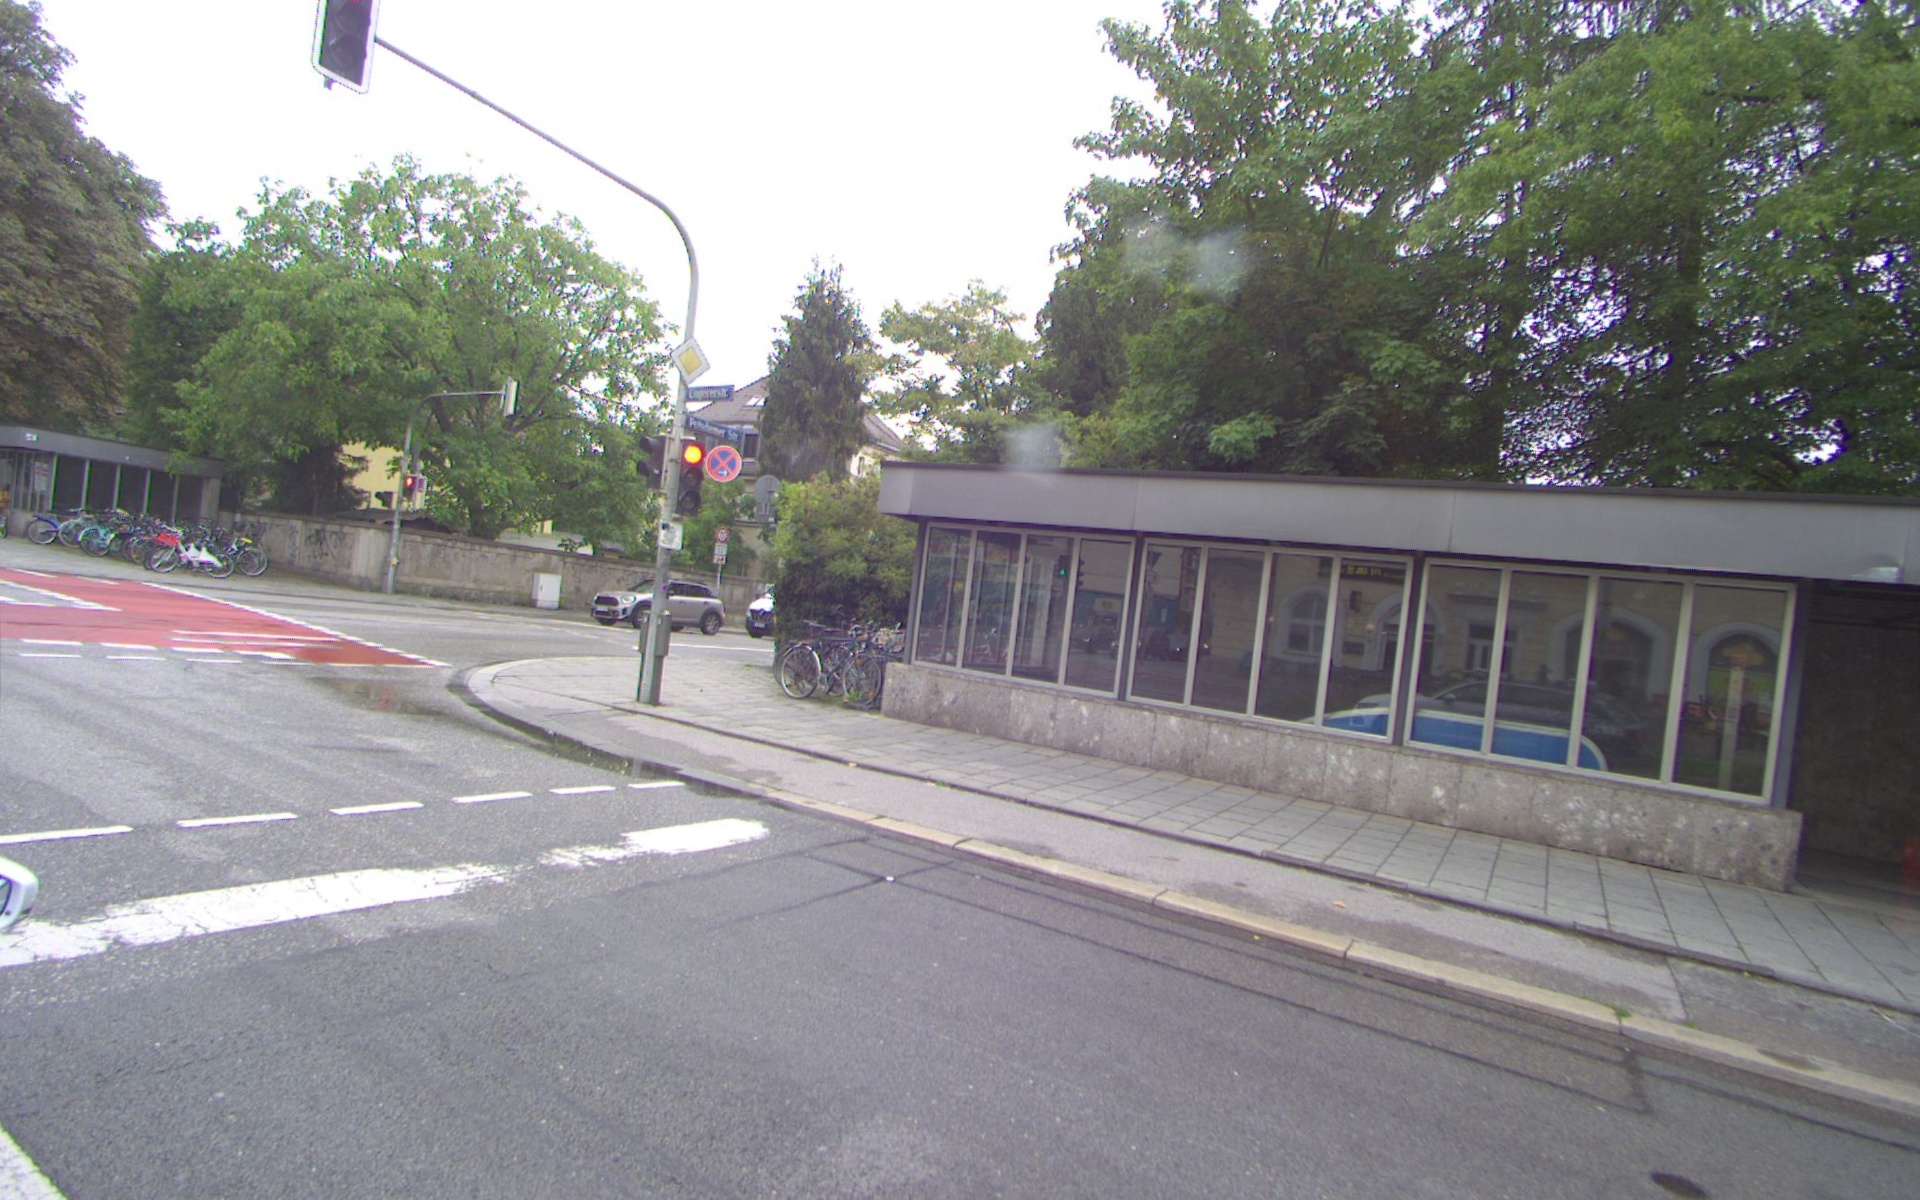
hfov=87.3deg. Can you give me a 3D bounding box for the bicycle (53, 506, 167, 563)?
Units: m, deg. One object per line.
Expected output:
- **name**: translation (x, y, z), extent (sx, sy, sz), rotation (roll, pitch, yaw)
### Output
- **bicycle**: translation (-22.347, -1.707, 26.496), extent (0.594, 1.192, 2.141), rotation (7, 0, 39)

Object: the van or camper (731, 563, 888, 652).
- **van or camper**: translation (-5.171, 0.340, 35.479), extent (2.033, 2.499, 5.558), rotation (7, 0, 33)

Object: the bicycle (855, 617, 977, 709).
- **bicycle**: translation (-0.663, 0.909, 14.792), extent (1.707, 1.135, 0.469), rotation (6, 0, 32)

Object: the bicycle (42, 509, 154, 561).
- **bicycle**: translation (-22.954, -1.718, 26.834), extent (0.594, 1.075, 2.141), rotation (7, 0, 39)

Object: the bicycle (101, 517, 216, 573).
- **bicycle**: translation (-20.388, -1.391, 25.626), extent (0.594, 1.114, 2.141), rotation (7, 0, 39)

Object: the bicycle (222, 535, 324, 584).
- **bicycle**: translation (-18.804, -1.094, 27.576), extent (0.625, 1.026, 2.141), rotation (7, 0, 39)

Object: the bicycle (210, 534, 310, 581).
- **bicycle**: translation (-19.440, -1.163, 27.978), extent (0.625, 1.026, 2.141), rotation (7, 0, 39)

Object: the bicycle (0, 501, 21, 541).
- **bicycle**: translation (-26.945, -2.253, 28.009), extent (1.981, 1.027, 0.557), rotation (7, 0, 30)

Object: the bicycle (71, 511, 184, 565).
- **bicycle**: translation (-21.669, -1.604, 26.227), extent (0.594, 1.099, 2.141), rotation (7, 0, 39)

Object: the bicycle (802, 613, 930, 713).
- **bicycle**: translation (-1.300, 0.845, 13.746), extent (1.707, 1.135, 0.469), rotation (6, 0, 32)

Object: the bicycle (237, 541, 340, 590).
- **bicycle**: translation (-18.127, -0.913, 27.209), extent (0.625, 1.026, 2.141), rotation (7, 0, 39)

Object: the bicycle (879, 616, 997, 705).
- **bicycle**: translation (-0.351, 0.912, 15.306), extent (1.707, 1.135, 0.469), rotation (6, 0, 32)

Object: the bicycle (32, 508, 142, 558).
- **bicycle**: translation (-23.669, -1.815, 27.314), extent (0.594, 1.026, 2.141), rotation (7, 0, 39)

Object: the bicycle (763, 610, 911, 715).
- **bicycle**: translation (-1.624, 0.798, 13.177), extent (1.858, 1.135, 0.600), rotation (6, 0, 32)

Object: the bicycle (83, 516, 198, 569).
- **bicycle**: translation (-21.050, -1.465, 25.885), extent (0.594, 1.026, 2.141), rotation (7, 0, 39)

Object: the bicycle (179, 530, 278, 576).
- **bicycle**: translation (-20.822, -1.328, 28.679), extent (0.625, 1.026, 2.141), rotation (7, 0, 39)

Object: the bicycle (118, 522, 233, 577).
- **bicycle**: translation (-19.780, -1.264, 25.406), extent (0.594, 1.084, 2.141), rotation (7, 0, 39)

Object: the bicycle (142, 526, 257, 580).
- **bicycle**: translation (-18.997, -1.157, 25.179), extent (0.625, 1.026, 2.141), rotation (7, 0, 39)

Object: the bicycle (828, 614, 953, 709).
- **bicycle**: translation (-1.000, 0.853, 14.244), extent (1.707, 1.135, 0.469), rotation (6, 0, 32)

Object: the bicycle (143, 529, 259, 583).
- **bicycle**: translation (-18.587, -1.065, 24.686), extent (0.594, 1.026, 2.141), rotation (7, 0, 39)

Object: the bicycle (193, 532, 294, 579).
- **bicycle**: translation (-20.141, -1.248, 28.319), extent (0.625, 1.026, 2.141), rotation (7, 0, 39)

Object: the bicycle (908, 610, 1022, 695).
- **bicycle**: translation (0.067, 0.822, 15.951), extent (1.707, 1.135, 0.469), rotation (6, 0, 32)

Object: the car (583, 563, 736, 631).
- **car**: translation (-8.944, -0.047, 30.254), extent (1.668, 1.532, 4.172), rotation (7, -1, 34)

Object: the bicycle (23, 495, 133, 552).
- **bicycle**: translation (-24.243, -2.080, 27.684), extent (0.594, 1.233, 2.141), rotation (7, 0, 39)
